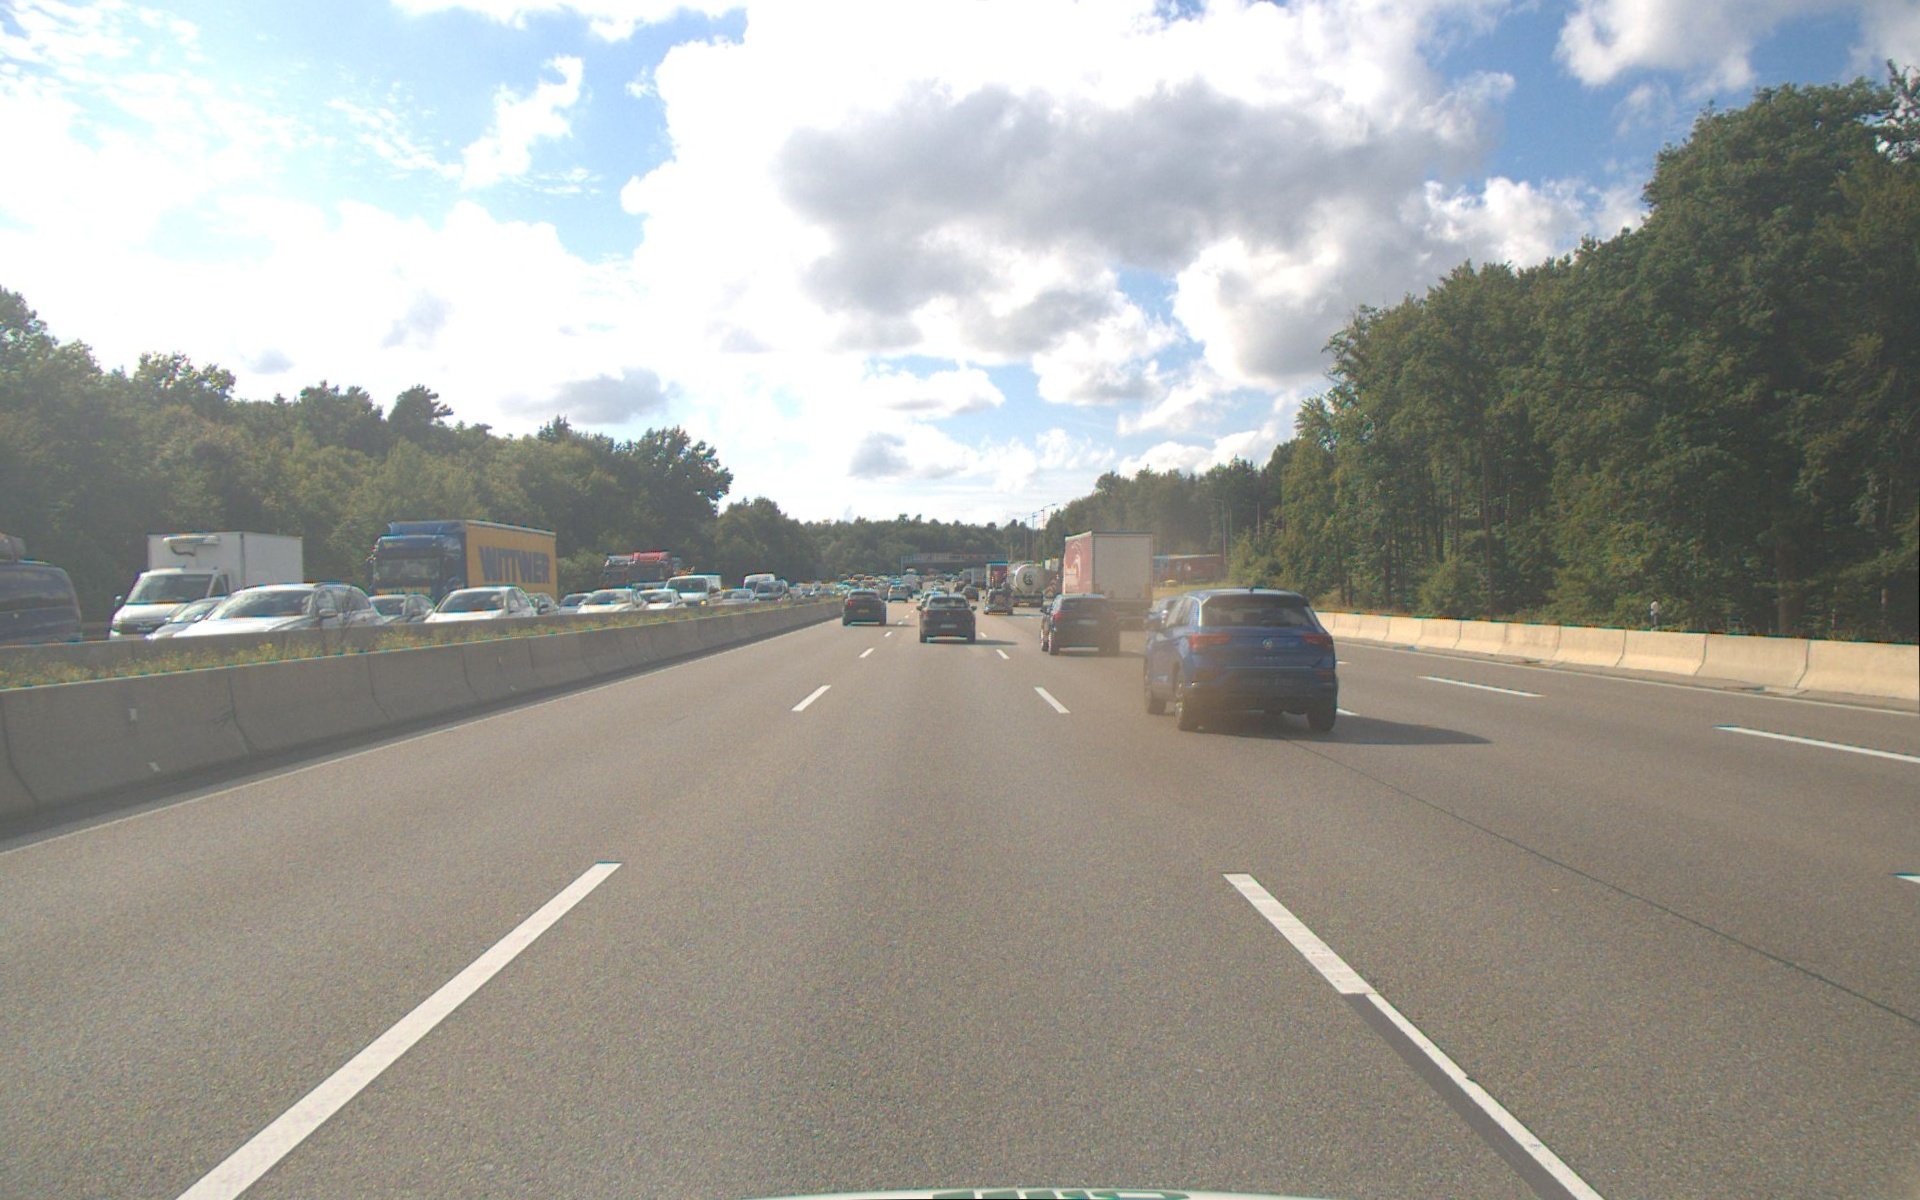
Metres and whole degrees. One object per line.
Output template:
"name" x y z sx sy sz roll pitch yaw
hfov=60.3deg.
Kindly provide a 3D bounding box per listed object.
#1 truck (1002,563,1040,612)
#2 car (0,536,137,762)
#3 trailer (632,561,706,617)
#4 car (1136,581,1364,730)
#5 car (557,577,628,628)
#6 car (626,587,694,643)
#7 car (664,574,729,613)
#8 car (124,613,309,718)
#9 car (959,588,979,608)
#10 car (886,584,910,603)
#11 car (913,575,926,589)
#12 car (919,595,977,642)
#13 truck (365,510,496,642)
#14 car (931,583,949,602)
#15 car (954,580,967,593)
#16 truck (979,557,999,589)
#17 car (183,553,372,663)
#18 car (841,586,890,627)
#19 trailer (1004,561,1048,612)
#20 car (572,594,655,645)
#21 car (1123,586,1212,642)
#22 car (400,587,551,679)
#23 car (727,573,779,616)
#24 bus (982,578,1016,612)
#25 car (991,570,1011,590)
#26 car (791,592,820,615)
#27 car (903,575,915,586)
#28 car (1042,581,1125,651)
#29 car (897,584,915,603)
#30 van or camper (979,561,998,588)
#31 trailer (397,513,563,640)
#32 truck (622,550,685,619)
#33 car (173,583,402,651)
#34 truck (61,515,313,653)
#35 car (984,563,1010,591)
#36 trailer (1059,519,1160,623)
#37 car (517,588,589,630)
"truck" 5.412 -1.087 147.446 2.983 4.233 7.125 0 0 -1
"car" -13.787 0.621 23.045 1.953 3.015 5.401 2 0 -1
"trailer" -18.767 -0.771 107.530 2.673 3.393 14.215 1 1 -2
"car" 3.319 0.591 19.827 1.885 1.568 4.645 0 0 0
"car" -13.857 0.066 62.546 1.710 1.797 4.841 1 1 -2
"car" -10.263 0.532 56.866 1.653 1.848 4.294 1 -1 -2
"car" -10.258 -0.218 64.832 1.812 1.378 5.486 1 -1 -2
"car" -13.991 1.192 31.398 1.653 1.848 4.294 1 -1 -2
"car" 0.905 -0.185 170.607 1.953 2.049 3.999 1 0 -1
"car" -5.962 -0.632 159.014 2.111 1.807 3.999 1 0 -1
"car" -6.038 -2.623 246.276 1.953 2.049 3.999 1 0 -1
"car" -0.408 0.563 51.403 1.699 1.389 3.998 1 0 -2
"truck" -17.829 -0.726 56.044 2.680 4.221 5.614 1 -1 -2
"car" -2.308 -0.858 187.429 1.953 2.049 3.999 -1 -1 -1
"car" 0.096 -2.044 252.408 1.953 2.049 3.999 1 0 -1
"truck" 3.528 -3.264 203.428 2.309 3.635 11.265 1 -1 0
"car" -13.628 0.183 33.359 1.953 2.049 4.655 1 -1 -2
"car" -4.189 0.273 73.846 1.953 1.807 4.000 0 0 0
"trailer" 5.535 -1.054 140.441 2.974 4.086 12.241 0 0 -1
"car" -10.291 0.542 49.346 1.721 1.401 3.999 2 0 -2
"car" 5.984 0.404 48.119 1.681 1.537 4.297 -1 0 -5
"car" -10.120 0.639 34.879 1.953 1.773 4.294 2 0 -1
"car" -8.342 -0.234 66.871 1.689 1.631 3.999 1 0 -2
"bus" 2.415 -0.295 103.244 1.953 2.049 3.999 1 -1 0
"car" 4.373 -2.101 175.379 1.953 2.049 3.999 1 -1 -1
"car" -11.054 0.247 118.484 1.799 1.619 4.287 0 0 -2
"car" -7.142 -2.729 230.664 1.590 1.496 3.814 1 0 0
"car" 3.099 0.399 42.261 1.762 1.673 3.999 1 0 0
"car" -6.198 -0.746 190.252 1.953 2.049 3.999 2 0 -1
"van or camper" 3.553 -3.184 209.835 2.303 3.199 5.710 1 -1 0
"trailer" -18.064 -0.704 63.472 2.715 4.309 13.654 1 -1 -2
"truck" -18.552 -0.959 100.497 2.720 4.007 6.851 1 0 -2
"car" -9.918 0.218 24.772 1.602 0.873 4.604 2 0 -1
"truck" -17.940 -0.363 39.038 2.281 2.850 7.947 2 0 -1
"car" 4.169 -2.558 185.647 2.807 3.044 5.149 1 -1 0
"trailer" 6.418 -1.063 73.347 2.976 4.106 13.886 1 -1 -1
"car" -14.432 0.346 58.767 1.698 1.426 3.834 1 -1 -2
